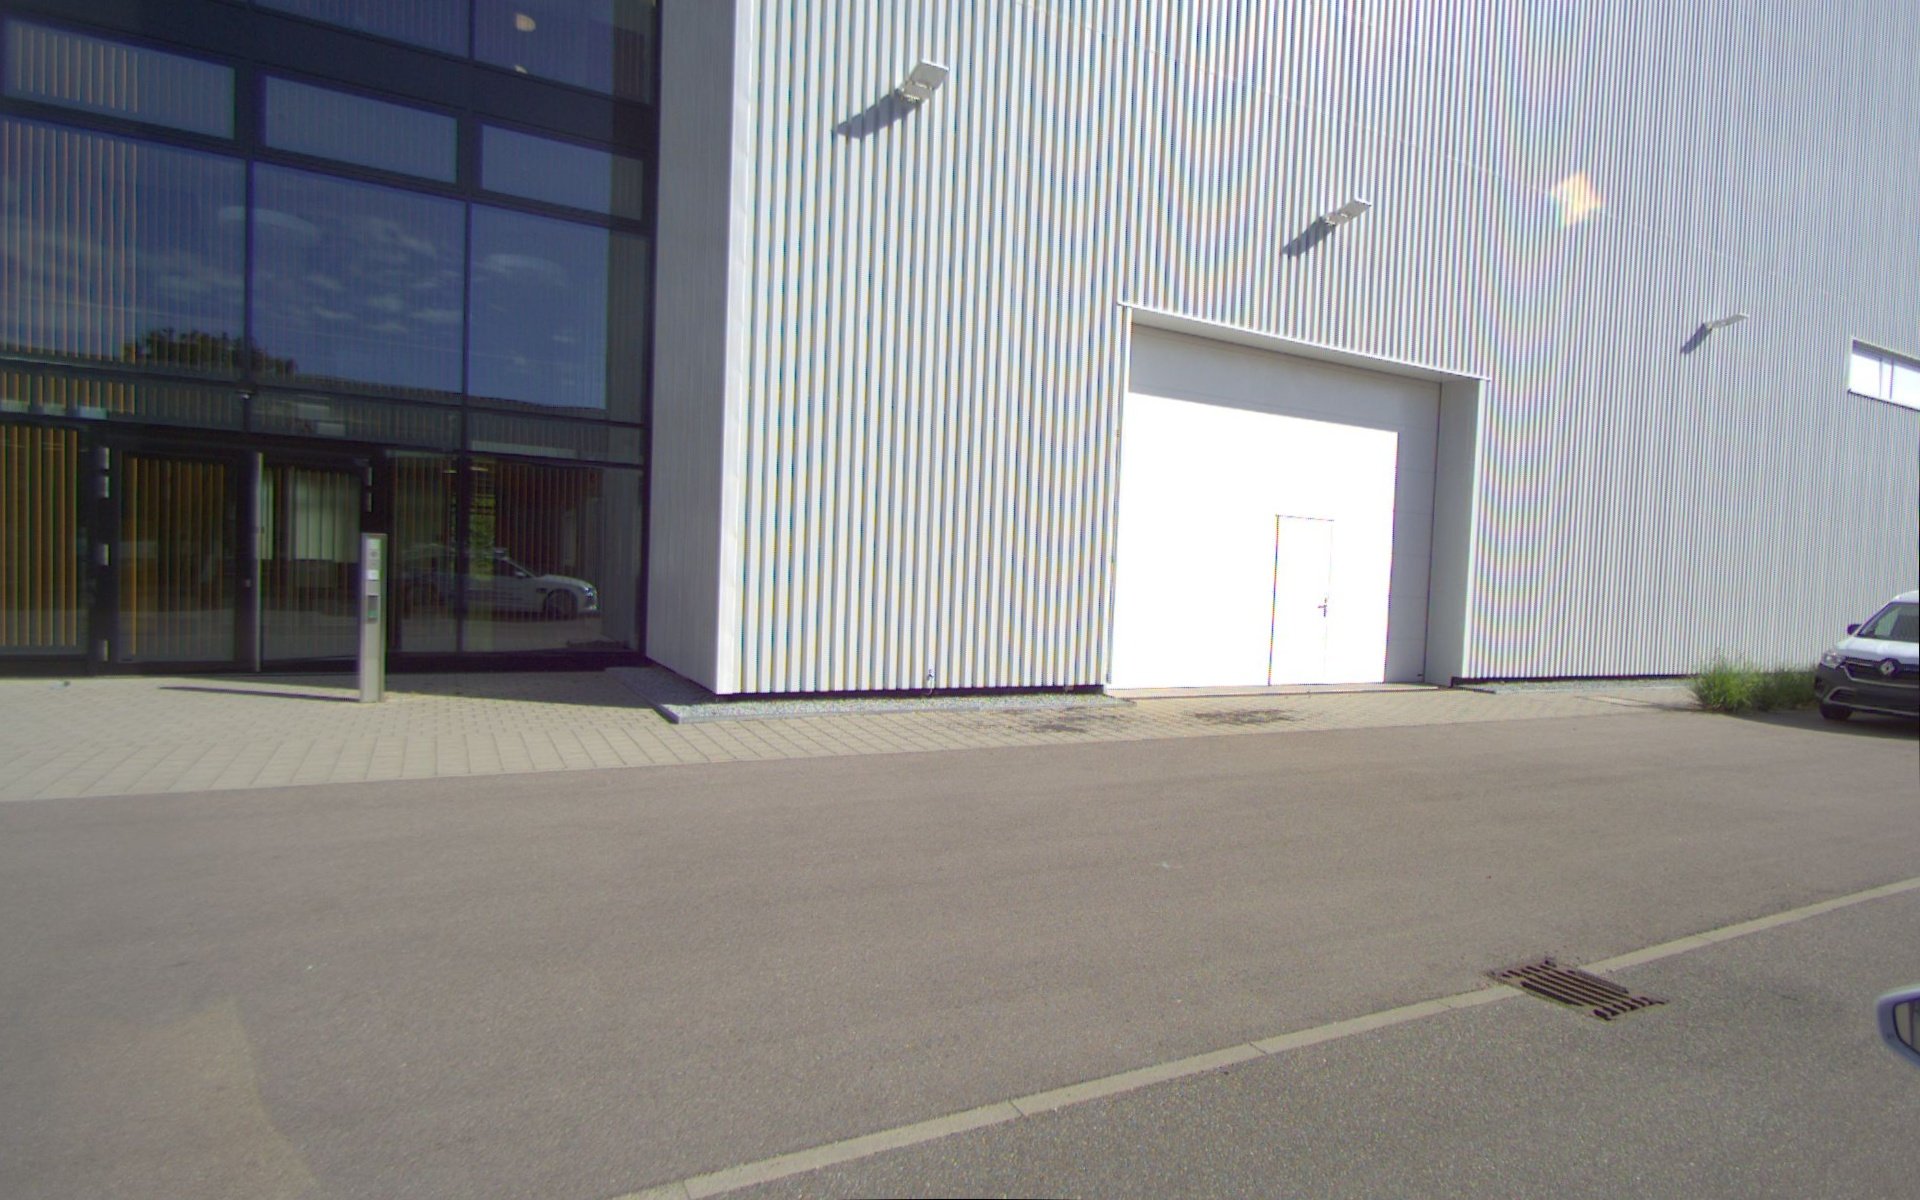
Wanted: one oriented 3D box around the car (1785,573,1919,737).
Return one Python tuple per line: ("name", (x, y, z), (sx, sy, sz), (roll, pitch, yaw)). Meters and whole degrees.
("car", (13.068, 0.706, 13.198), (4.305, 1.870, 1.882), (1, 4, -29))
